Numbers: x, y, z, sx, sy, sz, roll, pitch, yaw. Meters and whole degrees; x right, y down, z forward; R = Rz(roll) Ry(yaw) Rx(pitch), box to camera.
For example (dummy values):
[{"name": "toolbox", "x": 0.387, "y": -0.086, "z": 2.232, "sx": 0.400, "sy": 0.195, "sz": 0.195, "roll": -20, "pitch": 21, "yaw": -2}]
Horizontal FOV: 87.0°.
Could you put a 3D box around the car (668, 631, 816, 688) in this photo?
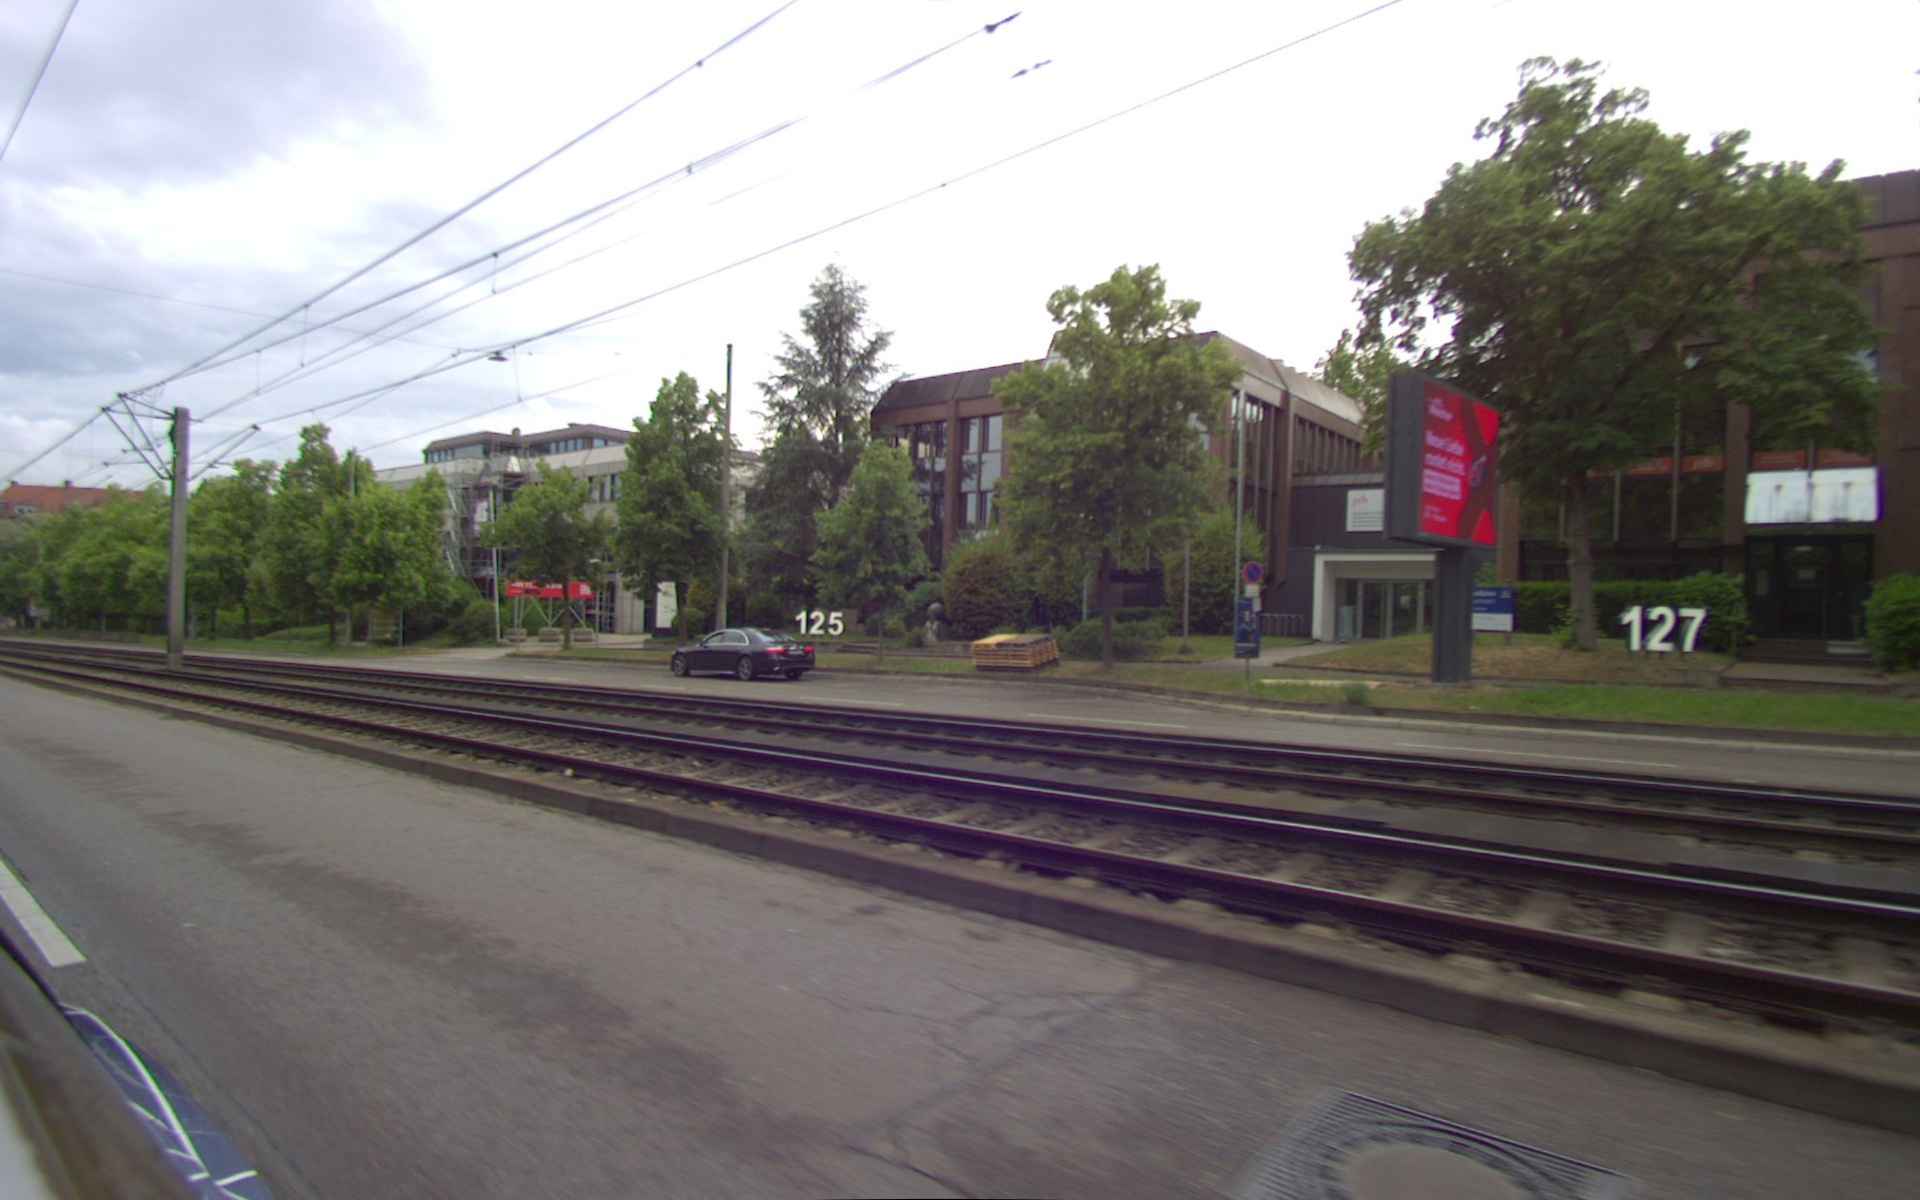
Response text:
[{"name": "car", "x": -6.450, "y": 1.691, "z": 29.668, "sx": 4.617, "sy": 1.542, "sz": 1.777, "roll": -2, "pitch": -2, "yaw": 39}]
